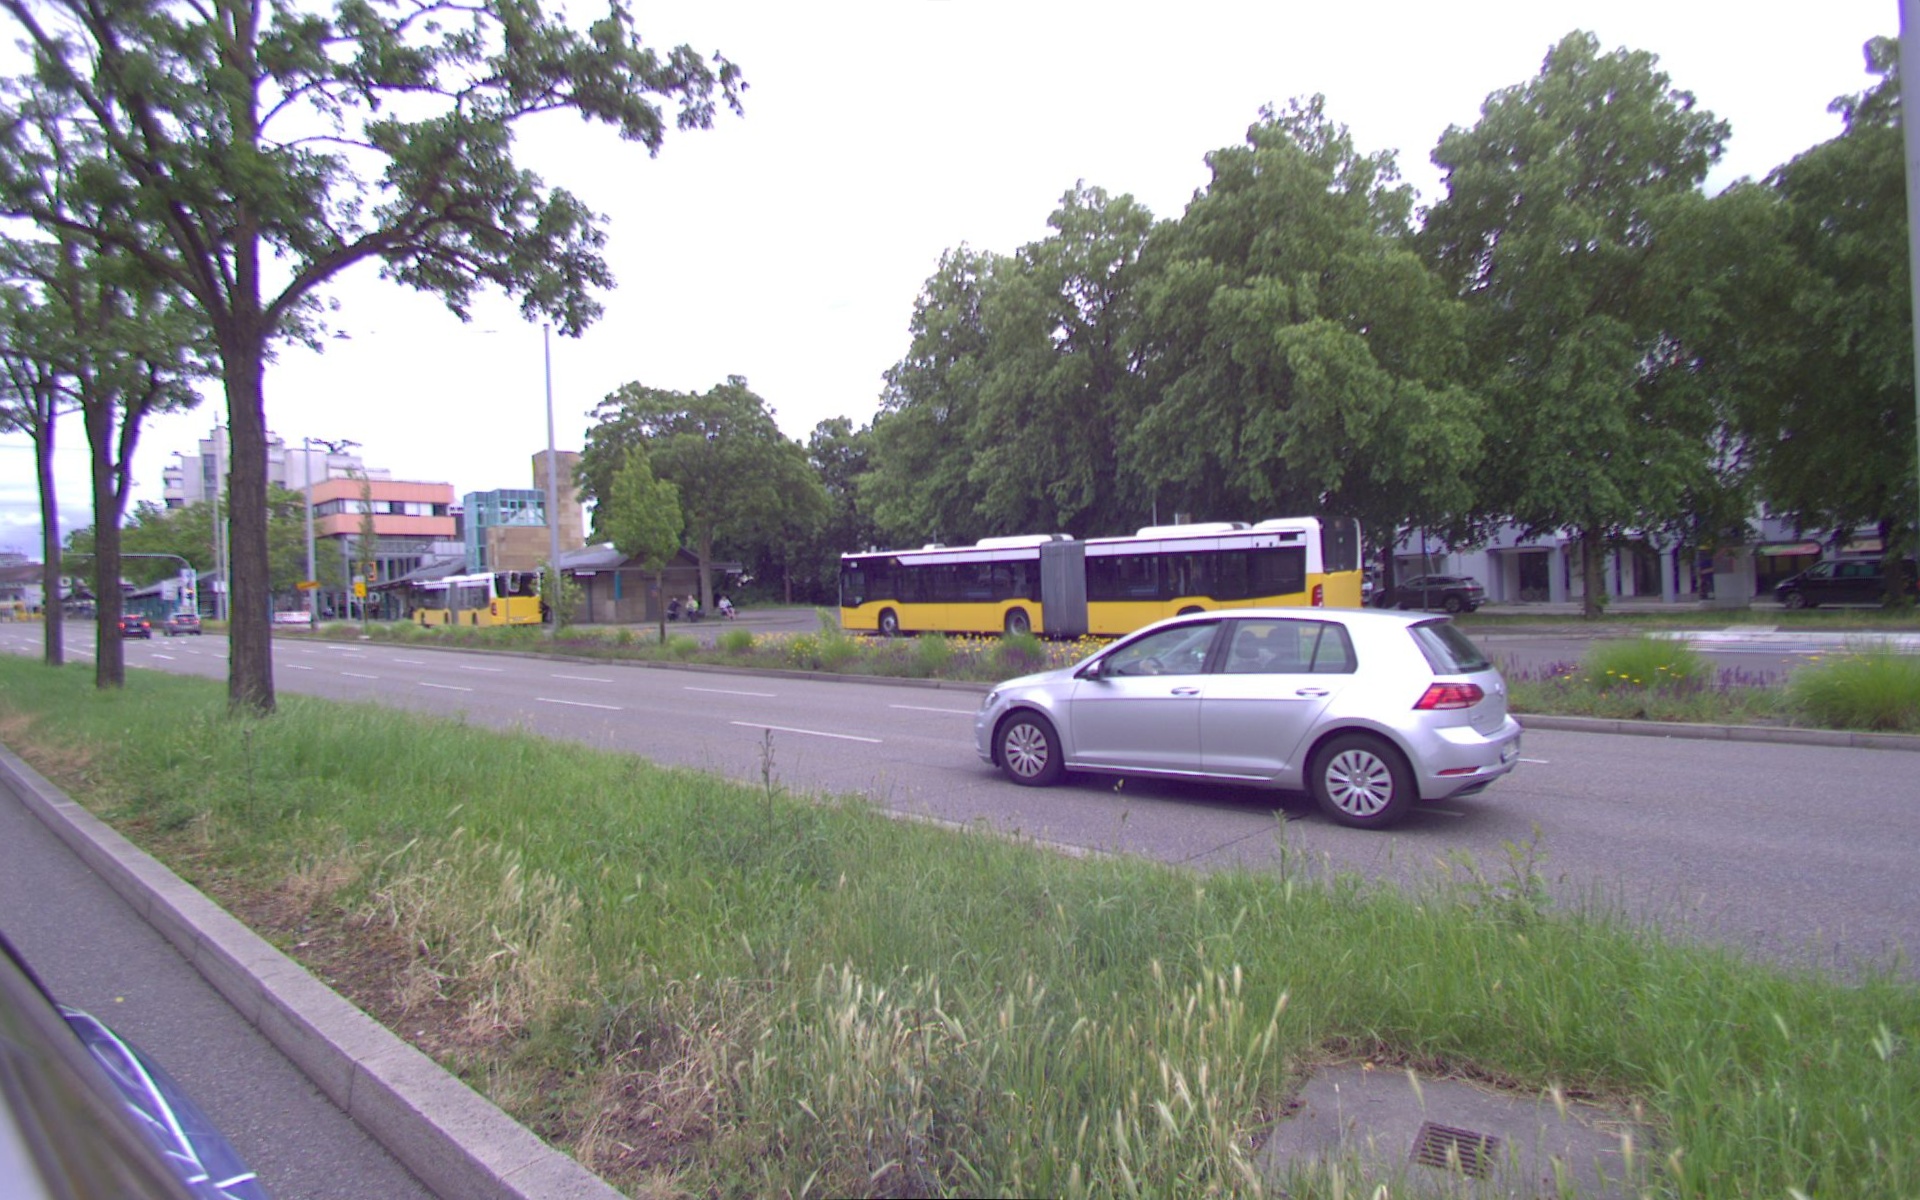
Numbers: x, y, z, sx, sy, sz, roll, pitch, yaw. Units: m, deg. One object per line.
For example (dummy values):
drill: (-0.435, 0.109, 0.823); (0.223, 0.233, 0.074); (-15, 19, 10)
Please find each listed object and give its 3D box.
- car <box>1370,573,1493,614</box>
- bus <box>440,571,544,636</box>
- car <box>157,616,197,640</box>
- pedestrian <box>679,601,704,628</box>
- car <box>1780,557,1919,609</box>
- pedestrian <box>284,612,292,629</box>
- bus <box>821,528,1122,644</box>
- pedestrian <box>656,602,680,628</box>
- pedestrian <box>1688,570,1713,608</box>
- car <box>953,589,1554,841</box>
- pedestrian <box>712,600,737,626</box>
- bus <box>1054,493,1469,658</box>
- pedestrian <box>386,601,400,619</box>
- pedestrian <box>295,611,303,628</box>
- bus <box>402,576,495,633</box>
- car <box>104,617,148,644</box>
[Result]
car: (19.744, -0.246, 42.463); (1.970, 1.593, 4.251); (-1, 0, -44)
bus: (-25.715, 0.208, 55.298); (2.774, 3.155, 9.316); (-4, 2, -39)
car: (-53.978, 1.902, 69.723); (1.794, 1.519, 4.004); (-1, 0, -43)
pedestrian: (-13.353, 0.727, 50.361); (0.888, 1.300, 0.853); (-1, 0, 18)
car: (34.347, -0.615, 38.258); (1.967, 1.846, 4.829); (-1, 0, -34)
pedestrian: (-62.300, 1.895, 93.804); (0.521, 1.559, 0.756); (-2, 0, -32)
bus: (-0.013, -0.382, 33.457); (3.049, 3.185, 10.743); (-6, 3, -45)
pedestrian: (-14.958, 0.756, 51.854); (0.887, 1.264, 0.854); (-1, 0, 14)
pedestrian: (30.708, -0.466, 41.960); (0.649, 1.559, 0.668); (-1, 0, -40)
car: (2.106, 0.711, 7.872); (4.129, 1.455, 1.736); (-2, 0, 38)
pedestrian: (-11.907, 0.663, 51.076); (0.858, 1.264, 0.883); (-2, 0, 43)
bus: (7.223, -0.499, 25.965); (2.996, 3.481, 9.918); (-4, 2, -44)
pedestrian: (-47.982, 0.855, 85.580); (0.975, 1.472, 0.593); (-2, 0, -32)
pedestrian: (-61.712, 1.823, 94.496); (0.382, 1.559, 0.479); (-2, 0, 34)
bus: (-31.680, 0.342, 62.430); (2.742, 3.155, 9.452); (-4, 2, -41)
car: (-51.887, 1.875, 62.937); (3.768, 1.519, 1.641); (-1, 0, 43)
